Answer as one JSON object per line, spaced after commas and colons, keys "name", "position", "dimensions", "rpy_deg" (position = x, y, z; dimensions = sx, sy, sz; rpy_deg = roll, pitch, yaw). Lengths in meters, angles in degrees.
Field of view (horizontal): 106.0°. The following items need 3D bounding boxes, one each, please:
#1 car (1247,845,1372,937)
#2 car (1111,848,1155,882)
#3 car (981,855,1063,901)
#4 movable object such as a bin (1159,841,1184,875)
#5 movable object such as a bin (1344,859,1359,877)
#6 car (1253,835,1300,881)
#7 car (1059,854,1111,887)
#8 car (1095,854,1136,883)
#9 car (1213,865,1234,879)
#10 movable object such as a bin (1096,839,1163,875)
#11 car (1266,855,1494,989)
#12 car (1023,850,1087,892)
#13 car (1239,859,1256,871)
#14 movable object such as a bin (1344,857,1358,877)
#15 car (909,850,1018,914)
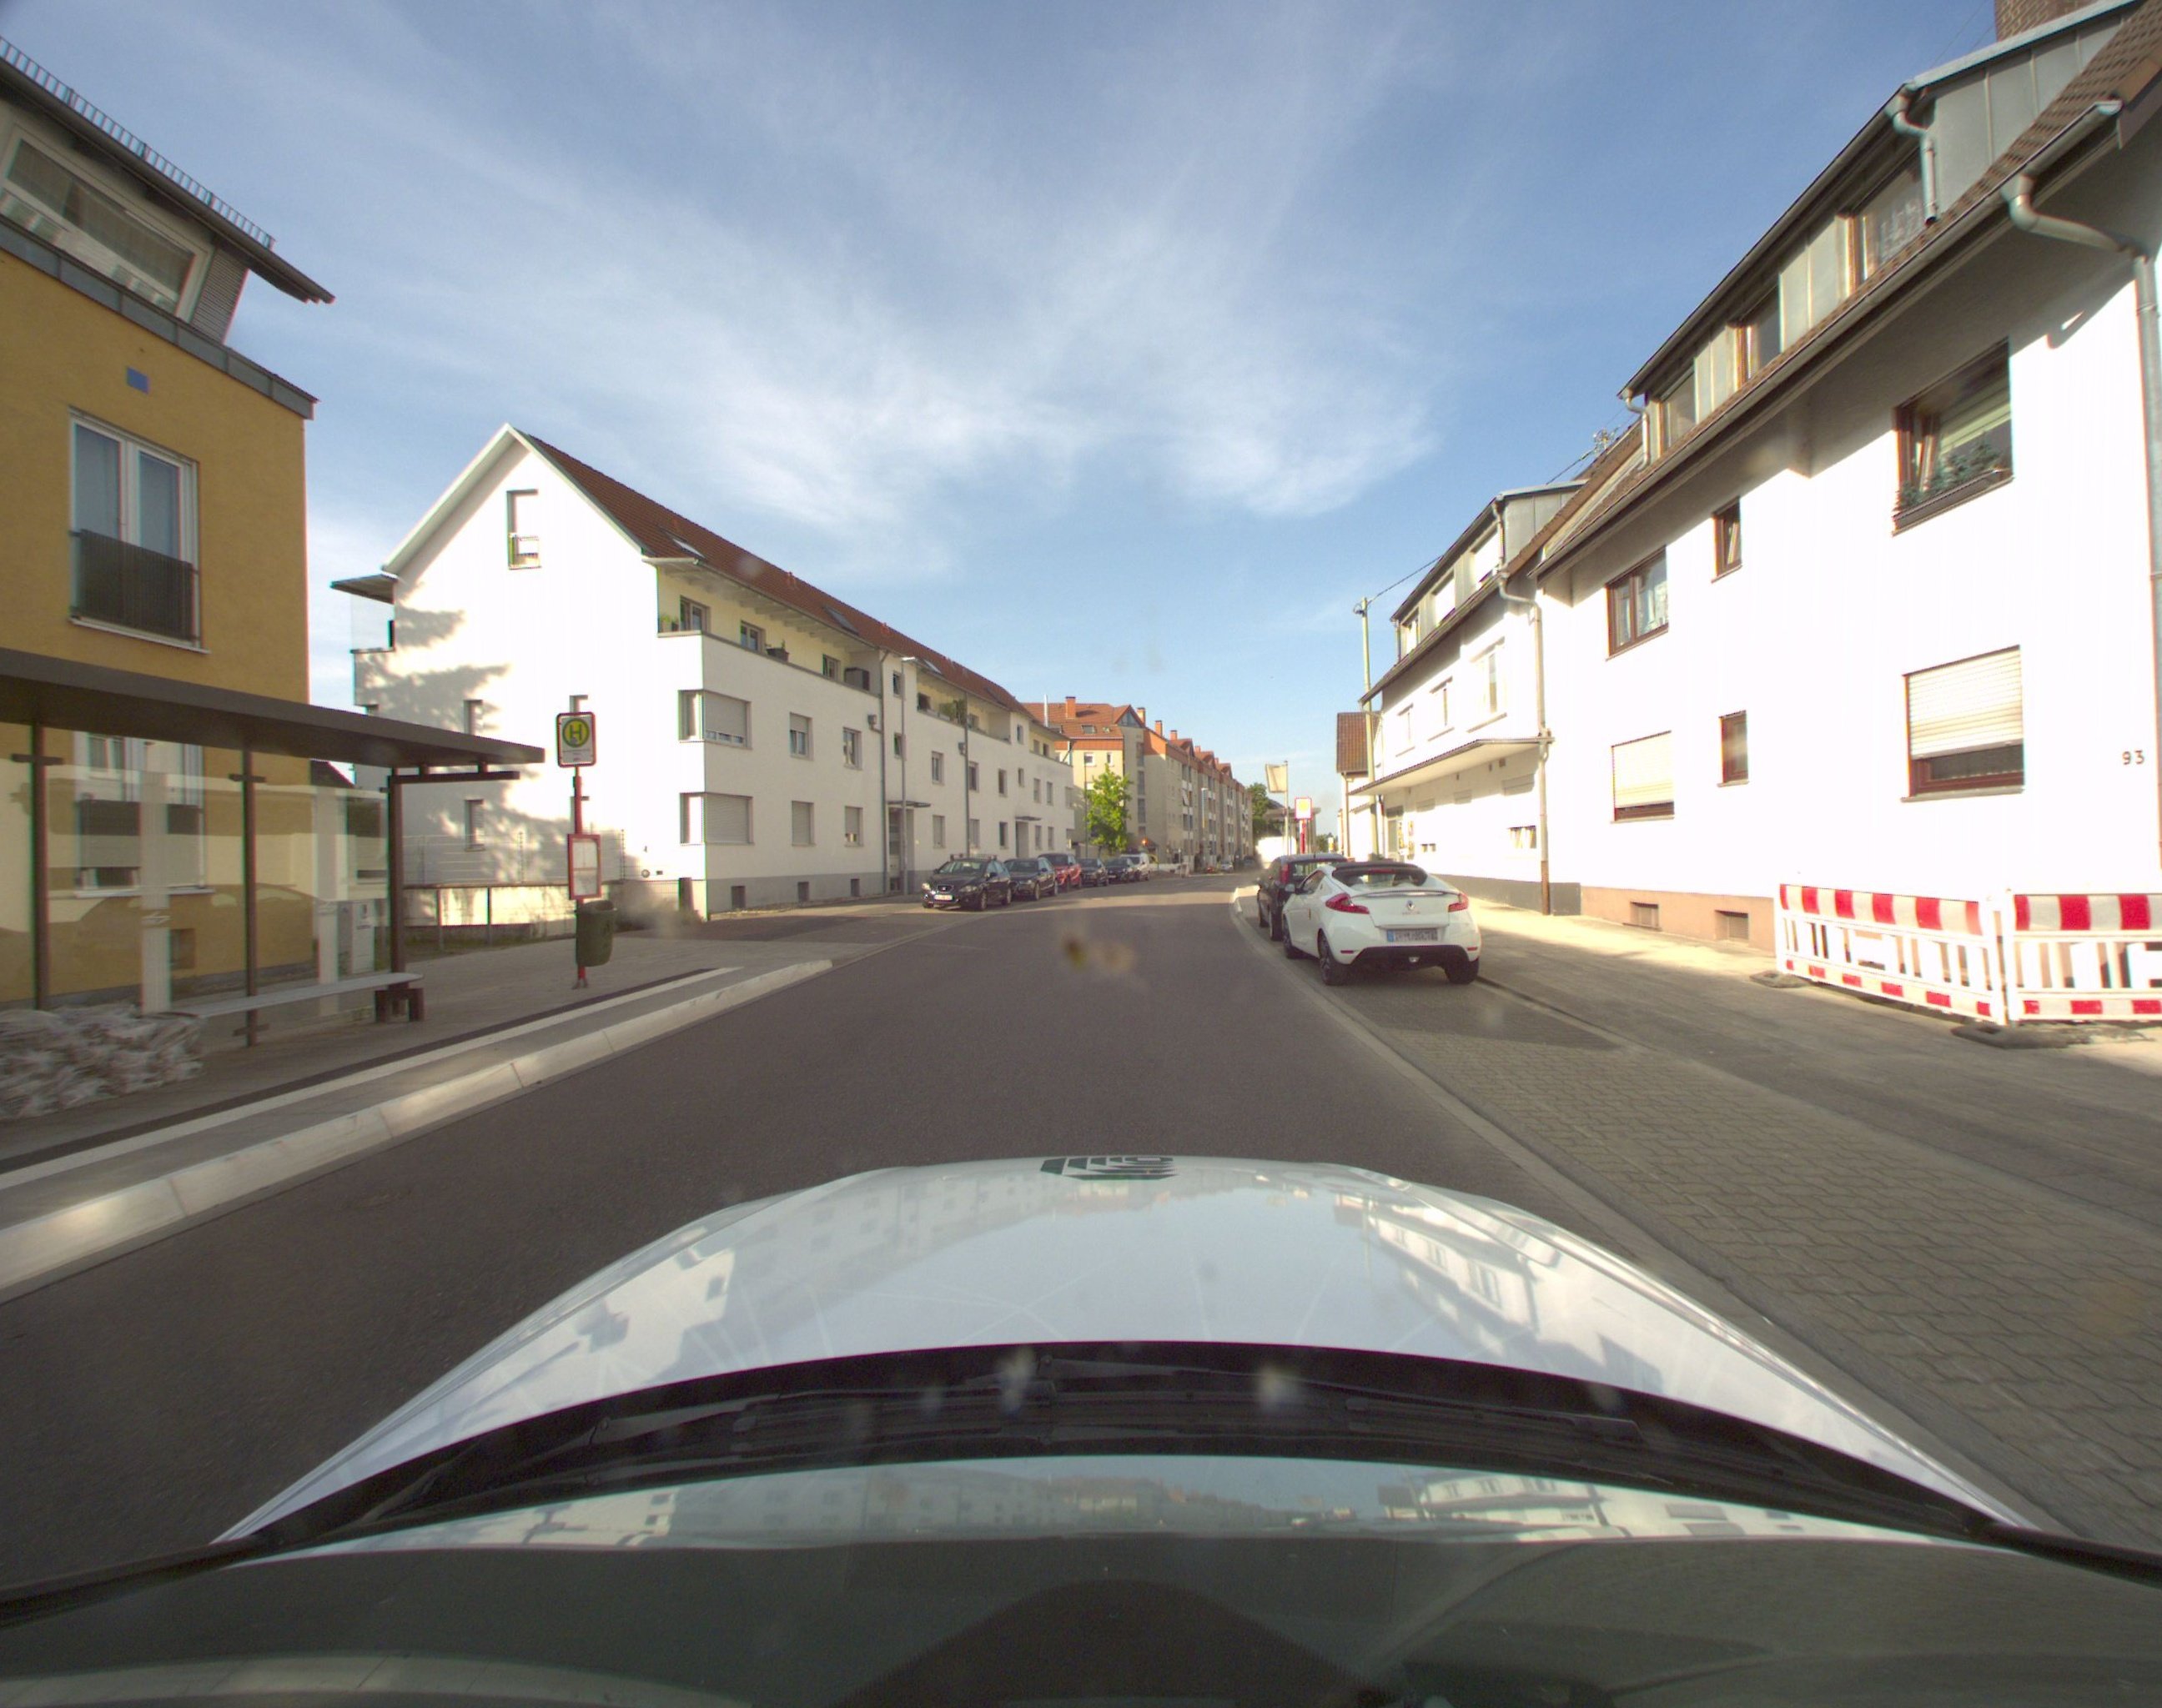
{"name": "car", "position": [4.132, 0.614, 15.272], "dimensions": [1.599, 1.421, 3.927], "rpy_deg": [-4, -1, 7]}
{"name": "car", "position": [3.300, 0.667, 50.942], "dimensions": [1.714, 1.960, 4.457], "rpy_deg": [2, 0, 16]}
{"name": "car", "position": [-2.009, 0.787, 29.053], "dimensions": [1.716, 1.478, 4.517], "rpy_deg": [2, 0, 11]}
{"name": "movable object such as a bin", "position": [8.570, 0.384, 76.855], "dimensions": [1.635, 3.138, 3.918], "rpy_deg": [0, 0, 17]}
{"name": "movable object such as a bin", "position": [14.819, 0.750, 44.605], "dimensions": [0.722, 0.959, 0.556], "rpy_deg": [-1, -1, 16]}
{"name": "car", "position": [10.909, 0.220, 45.183], "dimensions": [2.158, 2.327, 5.019], "rpy_deg": [-3, -1, 16]}
{"name": "car", "position": [0.236, 0.752, 39.795], "dimensions": [1.716, 1.478, 4.277], "rpy_deg": [1, 0, 11]}
{"name": "car", "position": [1.968, 0.762, 45.636], "dimensions": [1.482, 1.465, 3.527], "rpy_deg": [3, 1, 14]}
{"name": "car", "position": [15.039, 1.851, 85.659], "dimensions": [1.627, 1.395, 3.688], "rpy_deg": [-2, -1, 17]}
{"name": "movable object such as a bin", "position": [4.037, 0.260, 67.689], "dimensions": [5.473, 2.900, 2.114], "rpy_deg": [0, 0, 4]}
{"name": "car", "position": [3.650, 0.720, 10.793], "dimensions": [1.707, 1.398, 4.339], "rpy_deg": [0, 0, 4]}
{"name": "car", "position": [-1.023, 0.679, 34.541], "dimensions": [1.716, 1.622, 4.277], "rpy_deg": [-1, 0, 11]}
{"name": "car", "position": [21.069, 1.395, 102.836], "dimensions": [1.672, 1.406, 4.103], "rpy_deg": [0, -1, 18]}
{"name": "movable object such as a bin", "position": [15.050, 0.718, 45.407], "dimensions": [0.722, 1.093, 0.556], "rpy_deg": [-1, -1, 16]}
{"name": "car", "position": [-3.298, 0.742, 23.694], "dimensions": [1.764, 1.622, 4.191], "rpy_deg": [2, 1, 11]}
